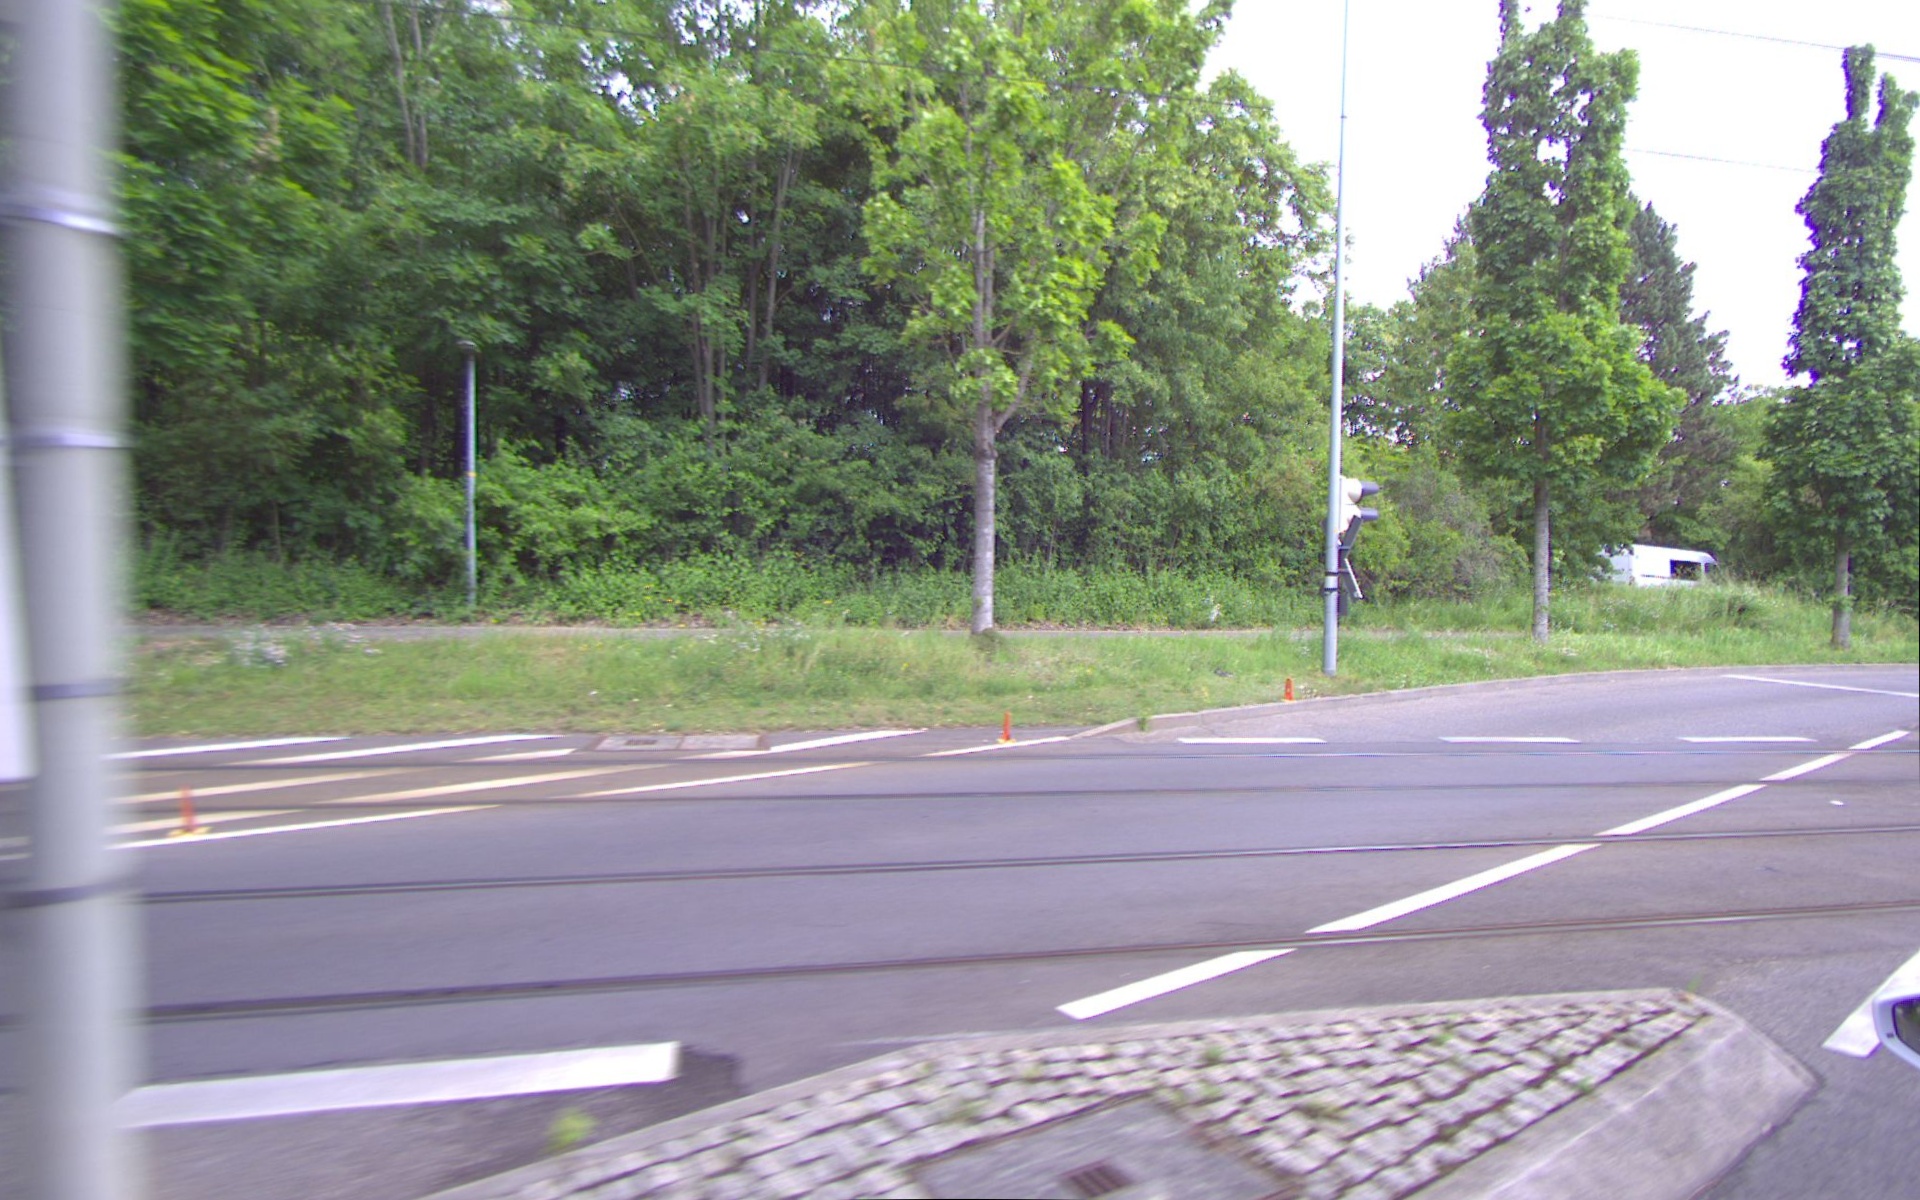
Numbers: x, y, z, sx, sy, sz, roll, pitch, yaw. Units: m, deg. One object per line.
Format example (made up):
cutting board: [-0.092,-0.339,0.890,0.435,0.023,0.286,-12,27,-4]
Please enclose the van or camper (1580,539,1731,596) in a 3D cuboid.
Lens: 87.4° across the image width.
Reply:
van or camper: [25.169,-1.160,36.388,4.551,1.902,1.994,1,2,-14]
